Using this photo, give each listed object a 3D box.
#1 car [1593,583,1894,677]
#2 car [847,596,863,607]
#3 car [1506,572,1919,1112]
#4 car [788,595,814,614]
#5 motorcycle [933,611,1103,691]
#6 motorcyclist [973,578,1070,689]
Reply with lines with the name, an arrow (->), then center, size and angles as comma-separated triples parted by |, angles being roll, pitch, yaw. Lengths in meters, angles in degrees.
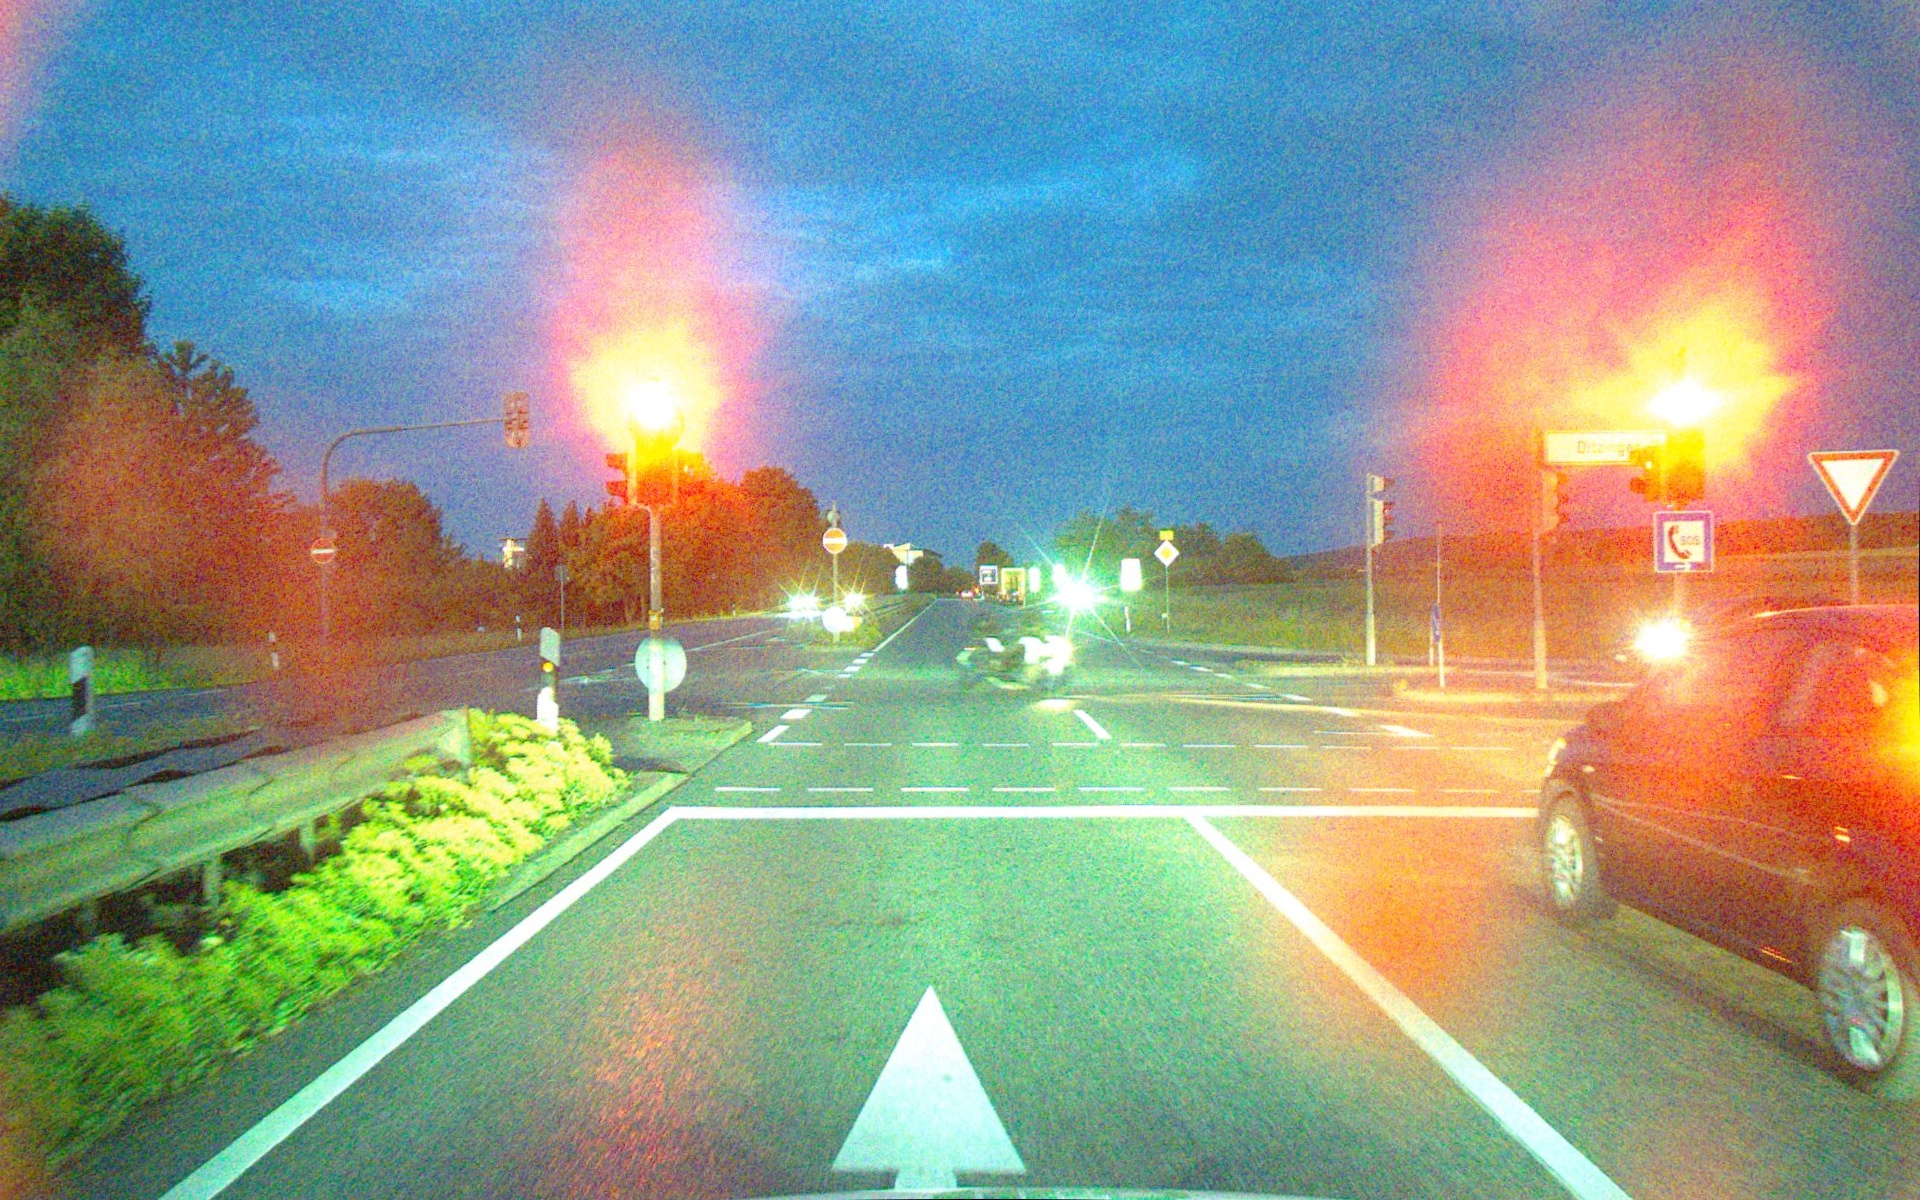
car -> 14.157, 0.517, 30.077 | 4.507, 1.547, 2.000 | -1, 0, 0
car -> -14.154, 0.204, 222.428 | 1.953, 1.411, 3.999 | 0, 0, -1
car -> 3.592, 0.696, 6.390 | 1.636, 1.547, 4.106 | 1, 0, 1
car -> -13.832, 0.383, 143.941 | 1.953, 1.545, 4.297 | 0, 0, -1
motorcycle -> 0.847, 0.738, 24.756 | 2.462, 1.118, 0.977 | -1, 0, 41
motorcyclist -> 0.927, 0.486, 24.764 | 0.954, 1.612, 1.135 | -1, 0, 39
